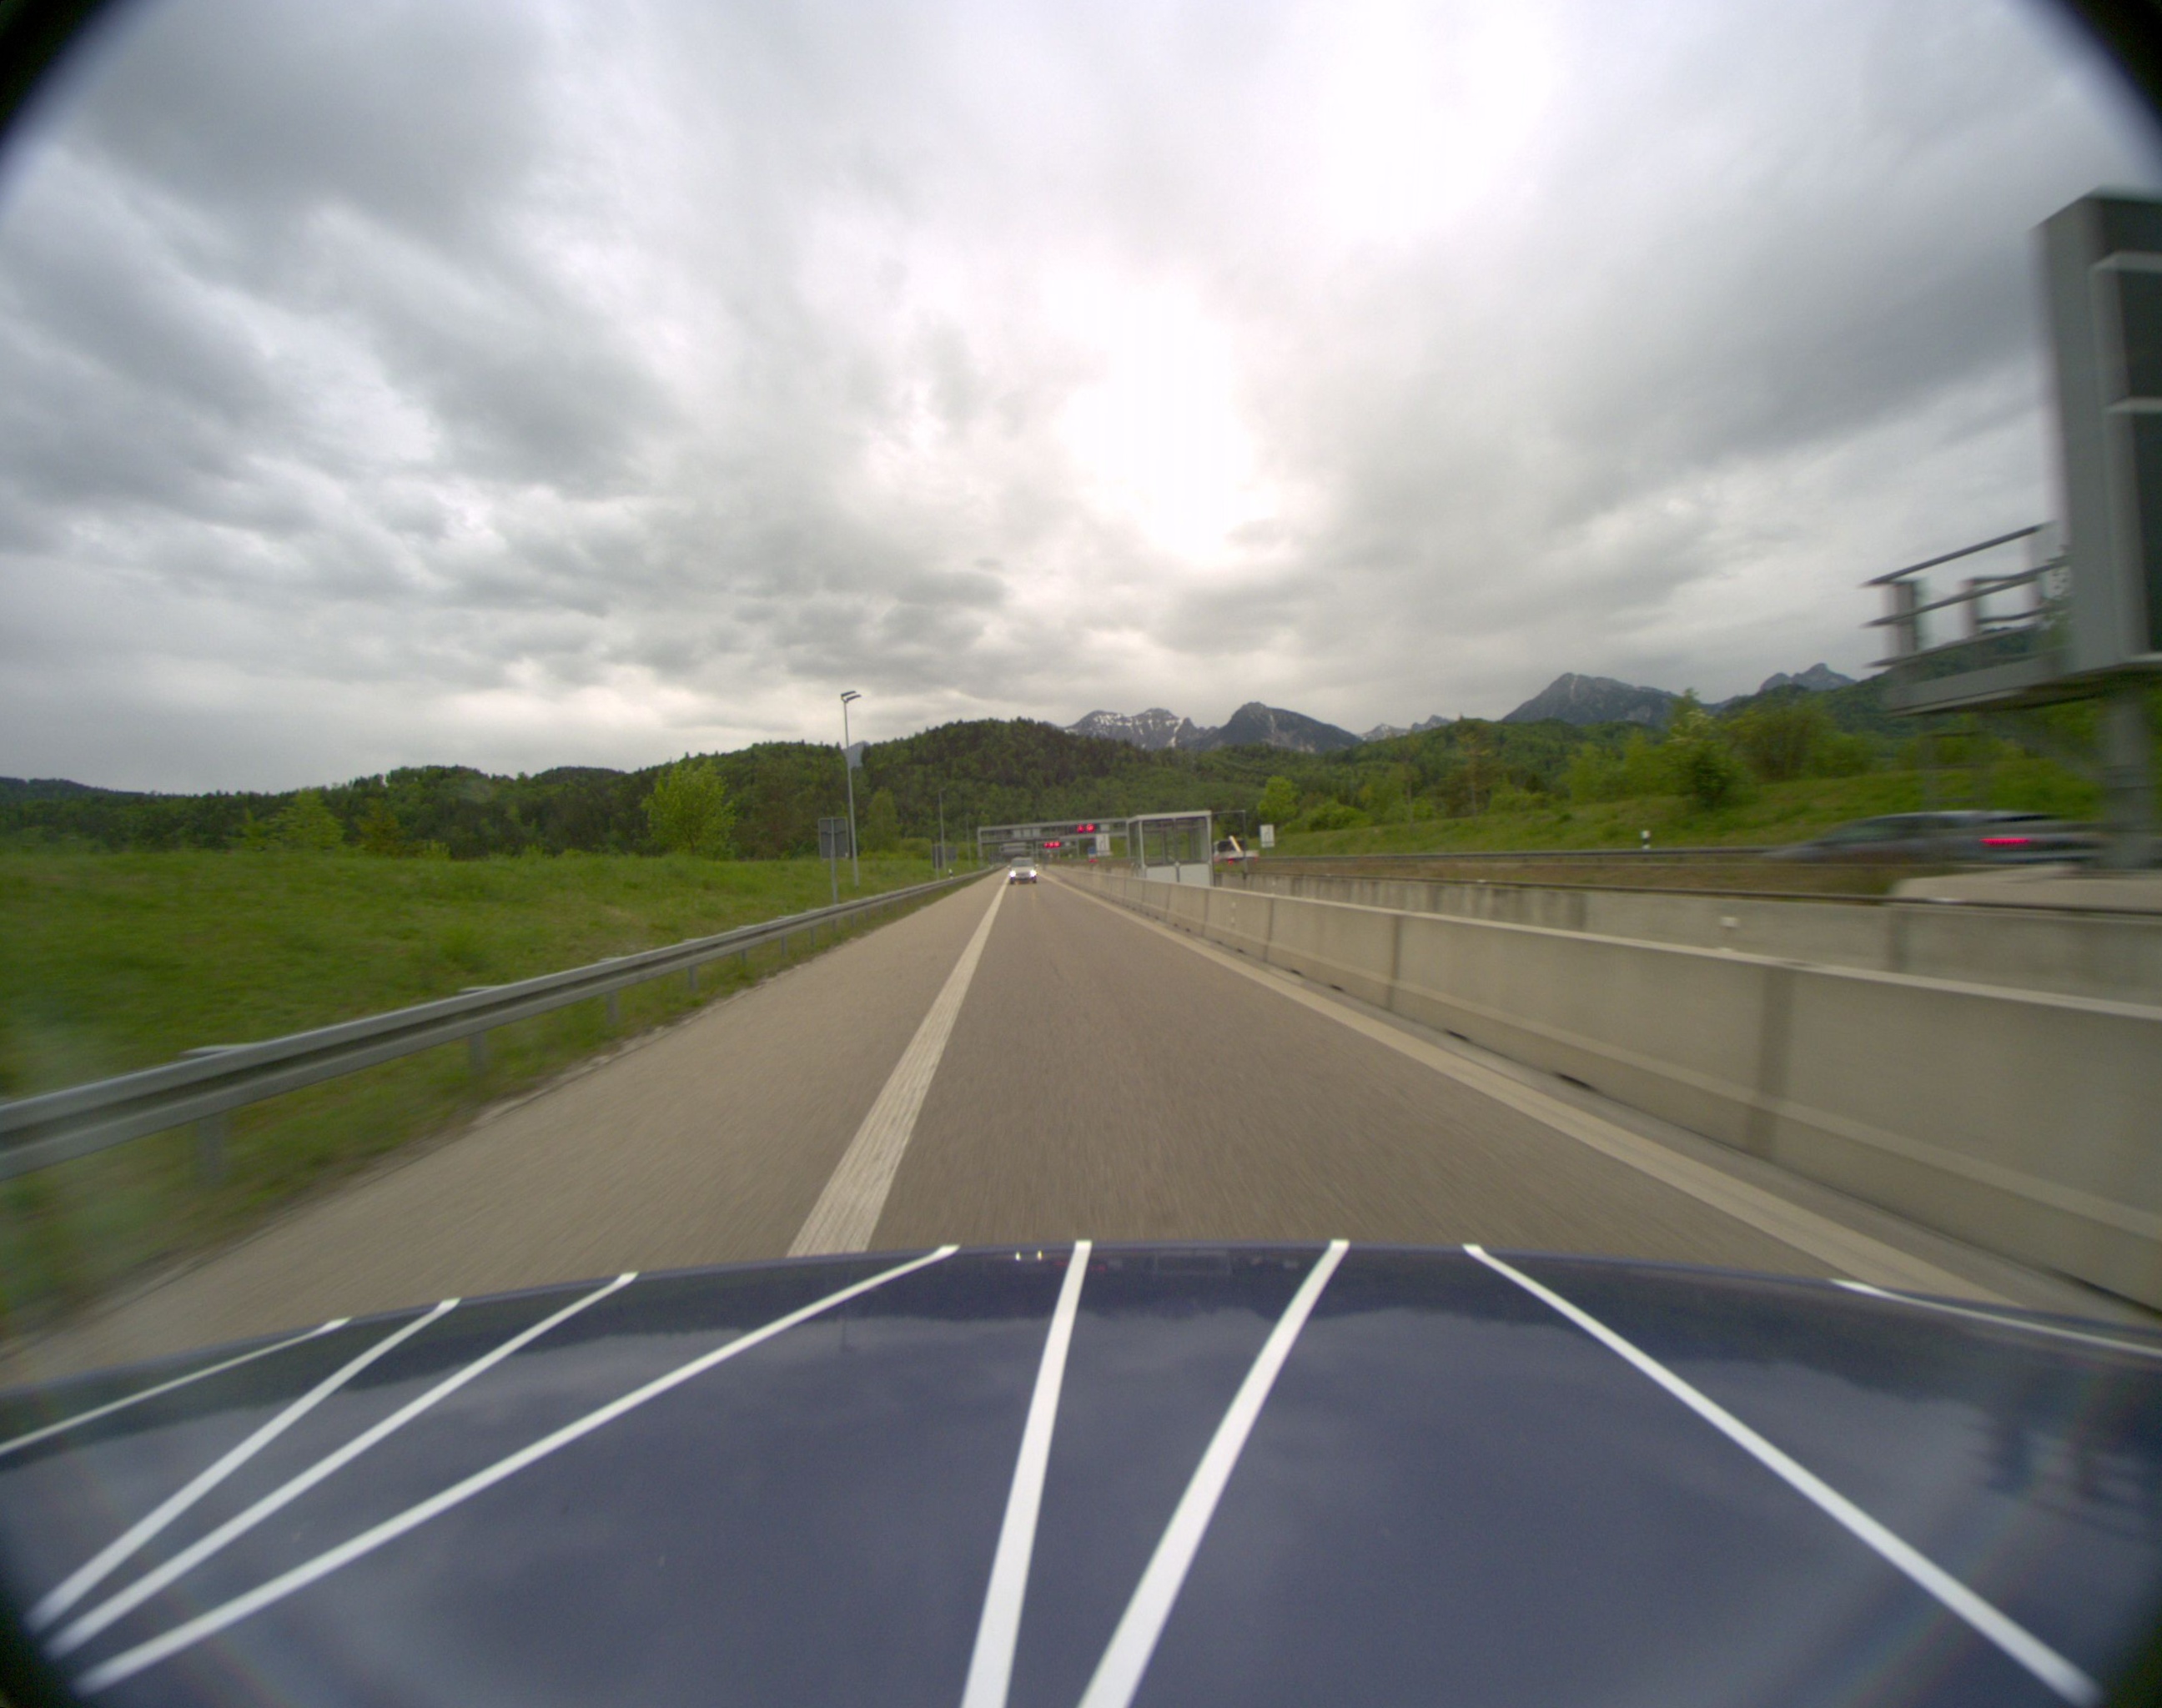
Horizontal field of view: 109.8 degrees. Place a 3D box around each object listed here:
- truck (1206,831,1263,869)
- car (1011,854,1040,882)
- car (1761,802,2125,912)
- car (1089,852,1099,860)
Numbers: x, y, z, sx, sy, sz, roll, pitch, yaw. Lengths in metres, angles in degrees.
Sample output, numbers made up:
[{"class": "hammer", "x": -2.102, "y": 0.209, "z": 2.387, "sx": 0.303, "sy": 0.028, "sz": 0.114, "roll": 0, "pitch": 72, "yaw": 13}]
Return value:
[{"class": "truck", "x": 11.135, "y": -0.252, "z": 55.500, "sx": 2.364, "sy": 2.465, "sz": 5.985, "roll": -3, "pitch": 0, "yaw": -5}, {"class": "car", "x": -4.066, "y": 0.994, "z": 55.985, "sx": 1.923, "sy": 1.871, "sz": 5.137, "roll": -2, "pitch": 0, "yaw": -2}, {"class": "car", "x": 14.186, "y": 0.048, "z": 12.886, "sx": 1.612, "sy": 1.492, "sz": 3.836, "roll": -3, "pitch": 0, "yaw": -5}, {"class": "car", "x": 2.649, "y": 0.428, "z": 155.627, "sx": 1.707, "sy": 1.565, "sz": 4.175, "roll": -3, "pitch": 0, "yaw": -4}]
